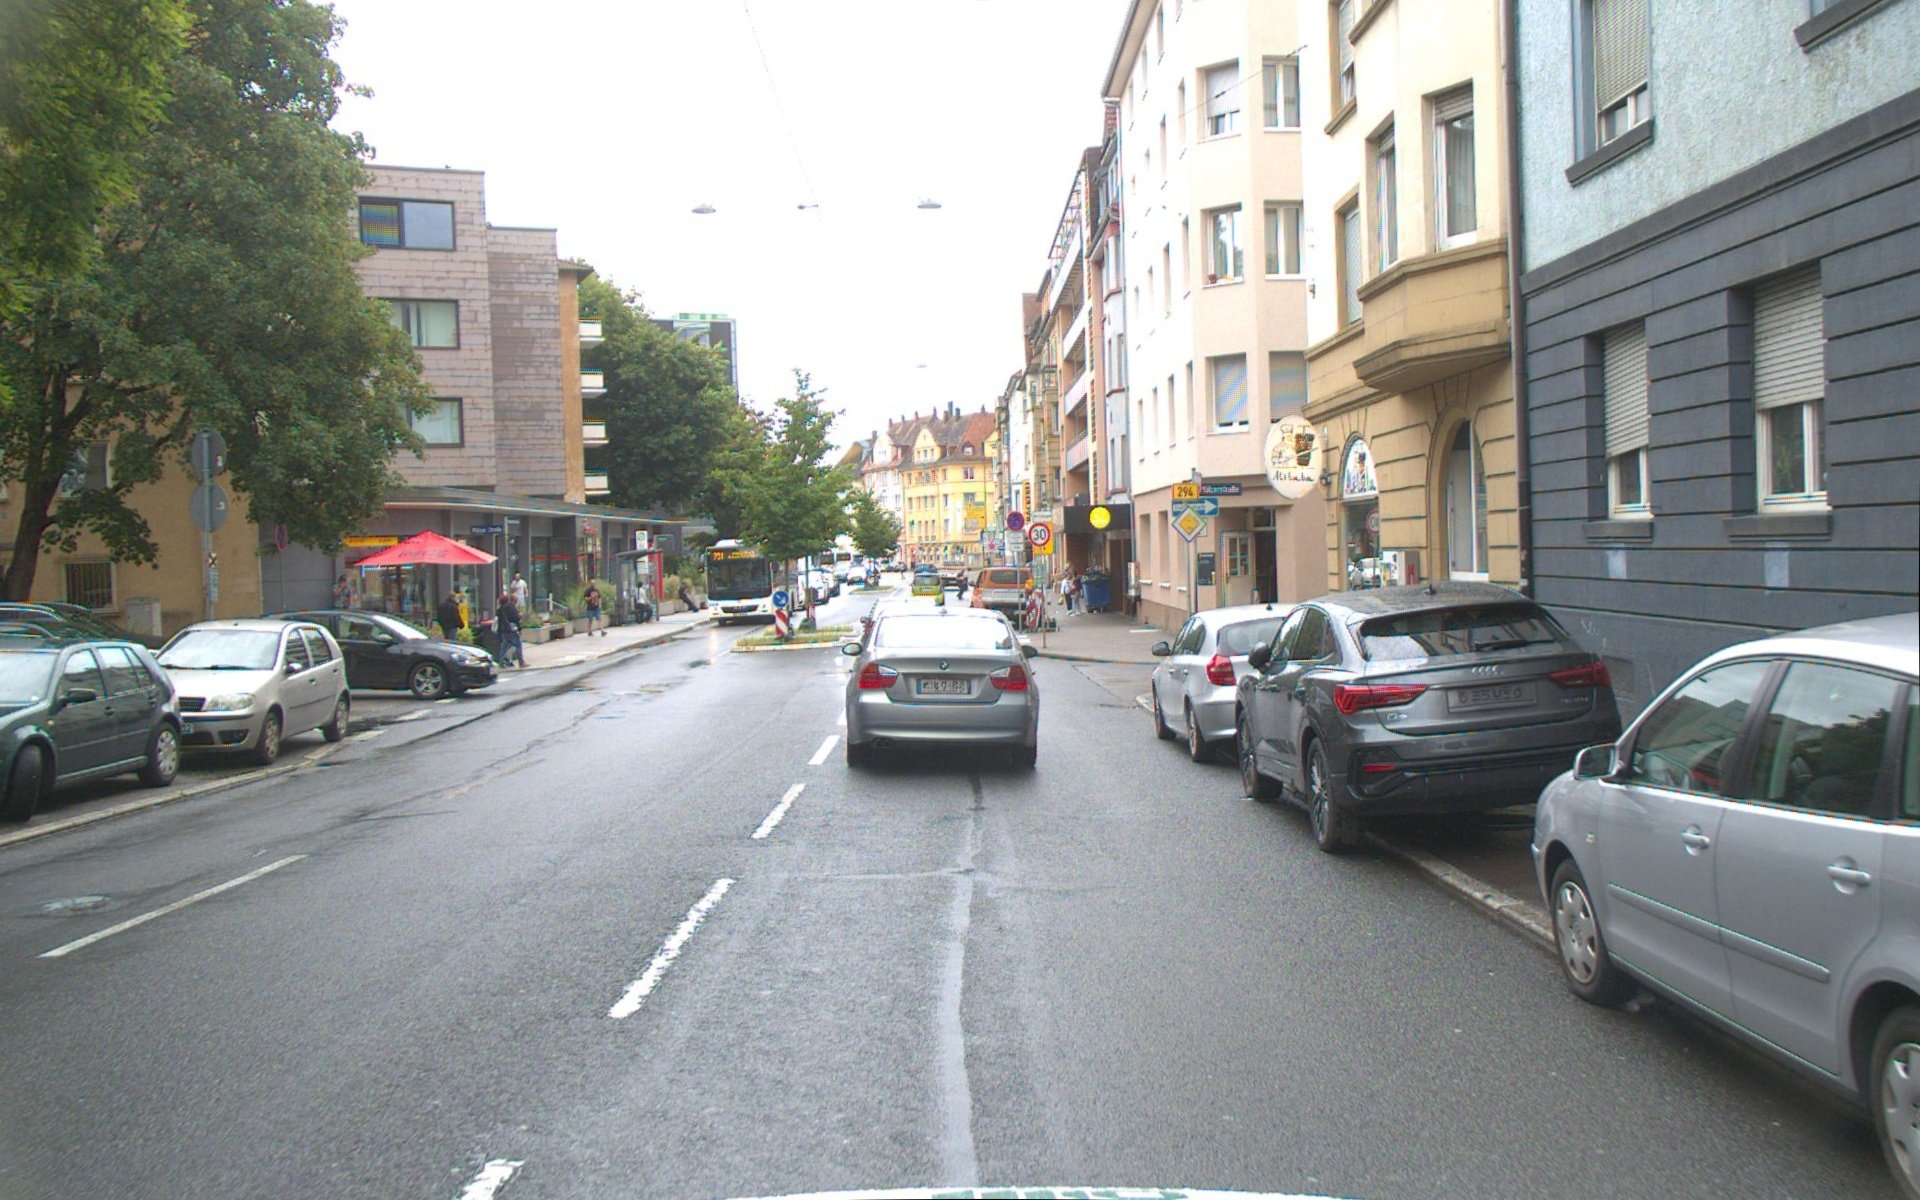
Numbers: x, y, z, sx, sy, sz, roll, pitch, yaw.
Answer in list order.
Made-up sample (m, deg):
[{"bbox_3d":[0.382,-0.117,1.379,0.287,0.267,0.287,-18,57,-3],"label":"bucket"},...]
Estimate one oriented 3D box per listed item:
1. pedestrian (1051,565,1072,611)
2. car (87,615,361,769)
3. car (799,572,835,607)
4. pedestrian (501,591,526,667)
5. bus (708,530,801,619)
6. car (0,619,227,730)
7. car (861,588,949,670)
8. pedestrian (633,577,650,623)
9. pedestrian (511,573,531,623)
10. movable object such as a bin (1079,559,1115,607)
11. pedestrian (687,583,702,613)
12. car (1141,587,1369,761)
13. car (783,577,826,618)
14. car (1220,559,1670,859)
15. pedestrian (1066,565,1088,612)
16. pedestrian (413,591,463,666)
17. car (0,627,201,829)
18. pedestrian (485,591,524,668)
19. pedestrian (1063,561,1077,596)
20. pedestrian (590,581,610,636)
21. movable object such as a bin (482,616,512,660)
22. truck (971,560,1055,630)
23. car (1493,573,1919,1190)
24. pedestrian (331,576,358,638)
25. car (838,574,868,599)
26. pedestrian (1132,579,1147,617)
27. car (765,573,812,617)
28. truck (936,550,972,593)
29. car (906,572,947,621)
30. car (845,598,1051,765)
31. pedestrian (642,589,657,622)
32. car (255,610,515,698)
[{"bbox_3d":[3.796,-0.429,61.989,0.733,1.690,0.837,1,-1,5],"label":"pedestrian"},{"bbox_3d":[-8.176,0.952,18.746,1.600,1.479,3.836,-1,0,-4],"label":"car"},{"bbox_3d":[-8.995,-0.645,104.348,1.953,2.049,3.998,1,-1,-2],"label":"car"},{"bbox_3d":[-10.329,0.665,38.256,0.458,1.739,0.541,2,-1,-21],"label":"pedestrian"},{"bbox_3d":[-8.292,-0.905,68.112,2.627,3.257,11.951,1,-1,-2],"label":"bus"},{"bbox_3d":[-14.291,1.208,27.131,3.732,1.609,1.693,-1,2,-1],"label":"car"},{"bbox_3d":[-1.074,0.545,31.642,1.570,1.445,3.286,1,-1,-3],"label":"car"},{"bbox_3d":[-11.933,0.002,62.012,0.532,1.739,0.465,1,-1,-7],"label":"pedestrian"},{"bbox_3d":[-15.450,-0.079,58.235,0.649,1.735,0.657,1,-1,-16],"label":"pedestrian"},{"bbox_3d":[5.136,-0.637,61.909,1.100,1.732,1.433,-2,-1,-3],"label":"movable object such as a bin"},{"bbox_3d":[-12.512,-0.090,77.902,0.607,1.402,0.544,1,-1,0],"label":"pedestrian"},{"bbox_3d":[2.899,0.664,17.035,1.537,1.489,4.088,-3,0,0],"label":"car"},{"bbox_3d":[-8.203,-0.095,87.650,1.953,2.049,3.998,2,-1,-2],"label":"car"},{"bbox_3d":[3.074,0.608,11.474,1.781,1.585,4.293,-3,0,0],"label":"car"},{"bbox_3d":[4.277,-0.424,60.576,0.736,1.690,0.753,1,-1,3],"label":"pedestrian"},{"bbox_3d":[-12.573,0.679,39.884,1.043,1.761,0.712,-1,1,-11],"label":"pedestrian"},{"bbox_3d":[-8.264,1.034,14.365,1.620,1.479,3.940,-2,0,-2],"label":"car"},{"bbox_3d":[-10.698,0.680,38.829,0.729,1.738,0.676,-4,1,-21],"label":"pedestrian"},{"bbox_3d":[5.319,-1.039,79.950,0.602,1.690,0.755,1,-1,5],"label":"pedestrian"},{"bbox_3d":[-11.879,0.278,54.632,0.535,1.821,0.463,2,-1,-23],"label":"pedestrian"},{"bbox_3d":[-11.807,0.970,42.176,0.542,1.100,0.731,-2,-1,0],"label":"movable object such as a bin"},{"bbox_3d":[1.714,-0.148,55.659,2.173,2.153,4.646,2,0,-6],"label":"truck"},{"bbox_3d":[3.110,0.686,5.233,1.551,1.454,3.594,-4,0,-1],"label":"car"},{"bbox_3d":[-18.594,0.215,49.970,0.627,1.847,0.631,-2,1,-30],"label":"pedestrian"},{"bbox_3d":[-9.155,-1.147,141.792,1.951,2.049,4.002,1,-1,5],"label":"car"},{"bbox_3d":[5.983,-0.074,55.195,0.404,1.223,0.357,-4,1,2],"label":"pedestrian"},{"bbox_3d":[-8.321,-0.200,80.583,1.953,2.049,3.998,1,-1,-2],"label":"car"},{"bbox_3d":[-0.414,-1.826,107.862,2.172,2.589,4.778,1,-1,-2],"label":"truck"},{"bbox_3d":[-1.519,-0.128,73.155,1.671,2.049,3.997,1,-1,-3],"label":"car"},{"bbox_3d":[-0.116,0.700,15.418,1.720,1.386,3.164,0,-1,-1],"label":"car"},{"bbox_3d":[-11.989,0.219,63.898,0.455,1.252,0.544,1,-1,0],"label":"pedestrian"},{"bbox_3d":[-9.552,0.886,27.674,3.739,1.414,1.742,0,-1,-2],"label":"car"}]
